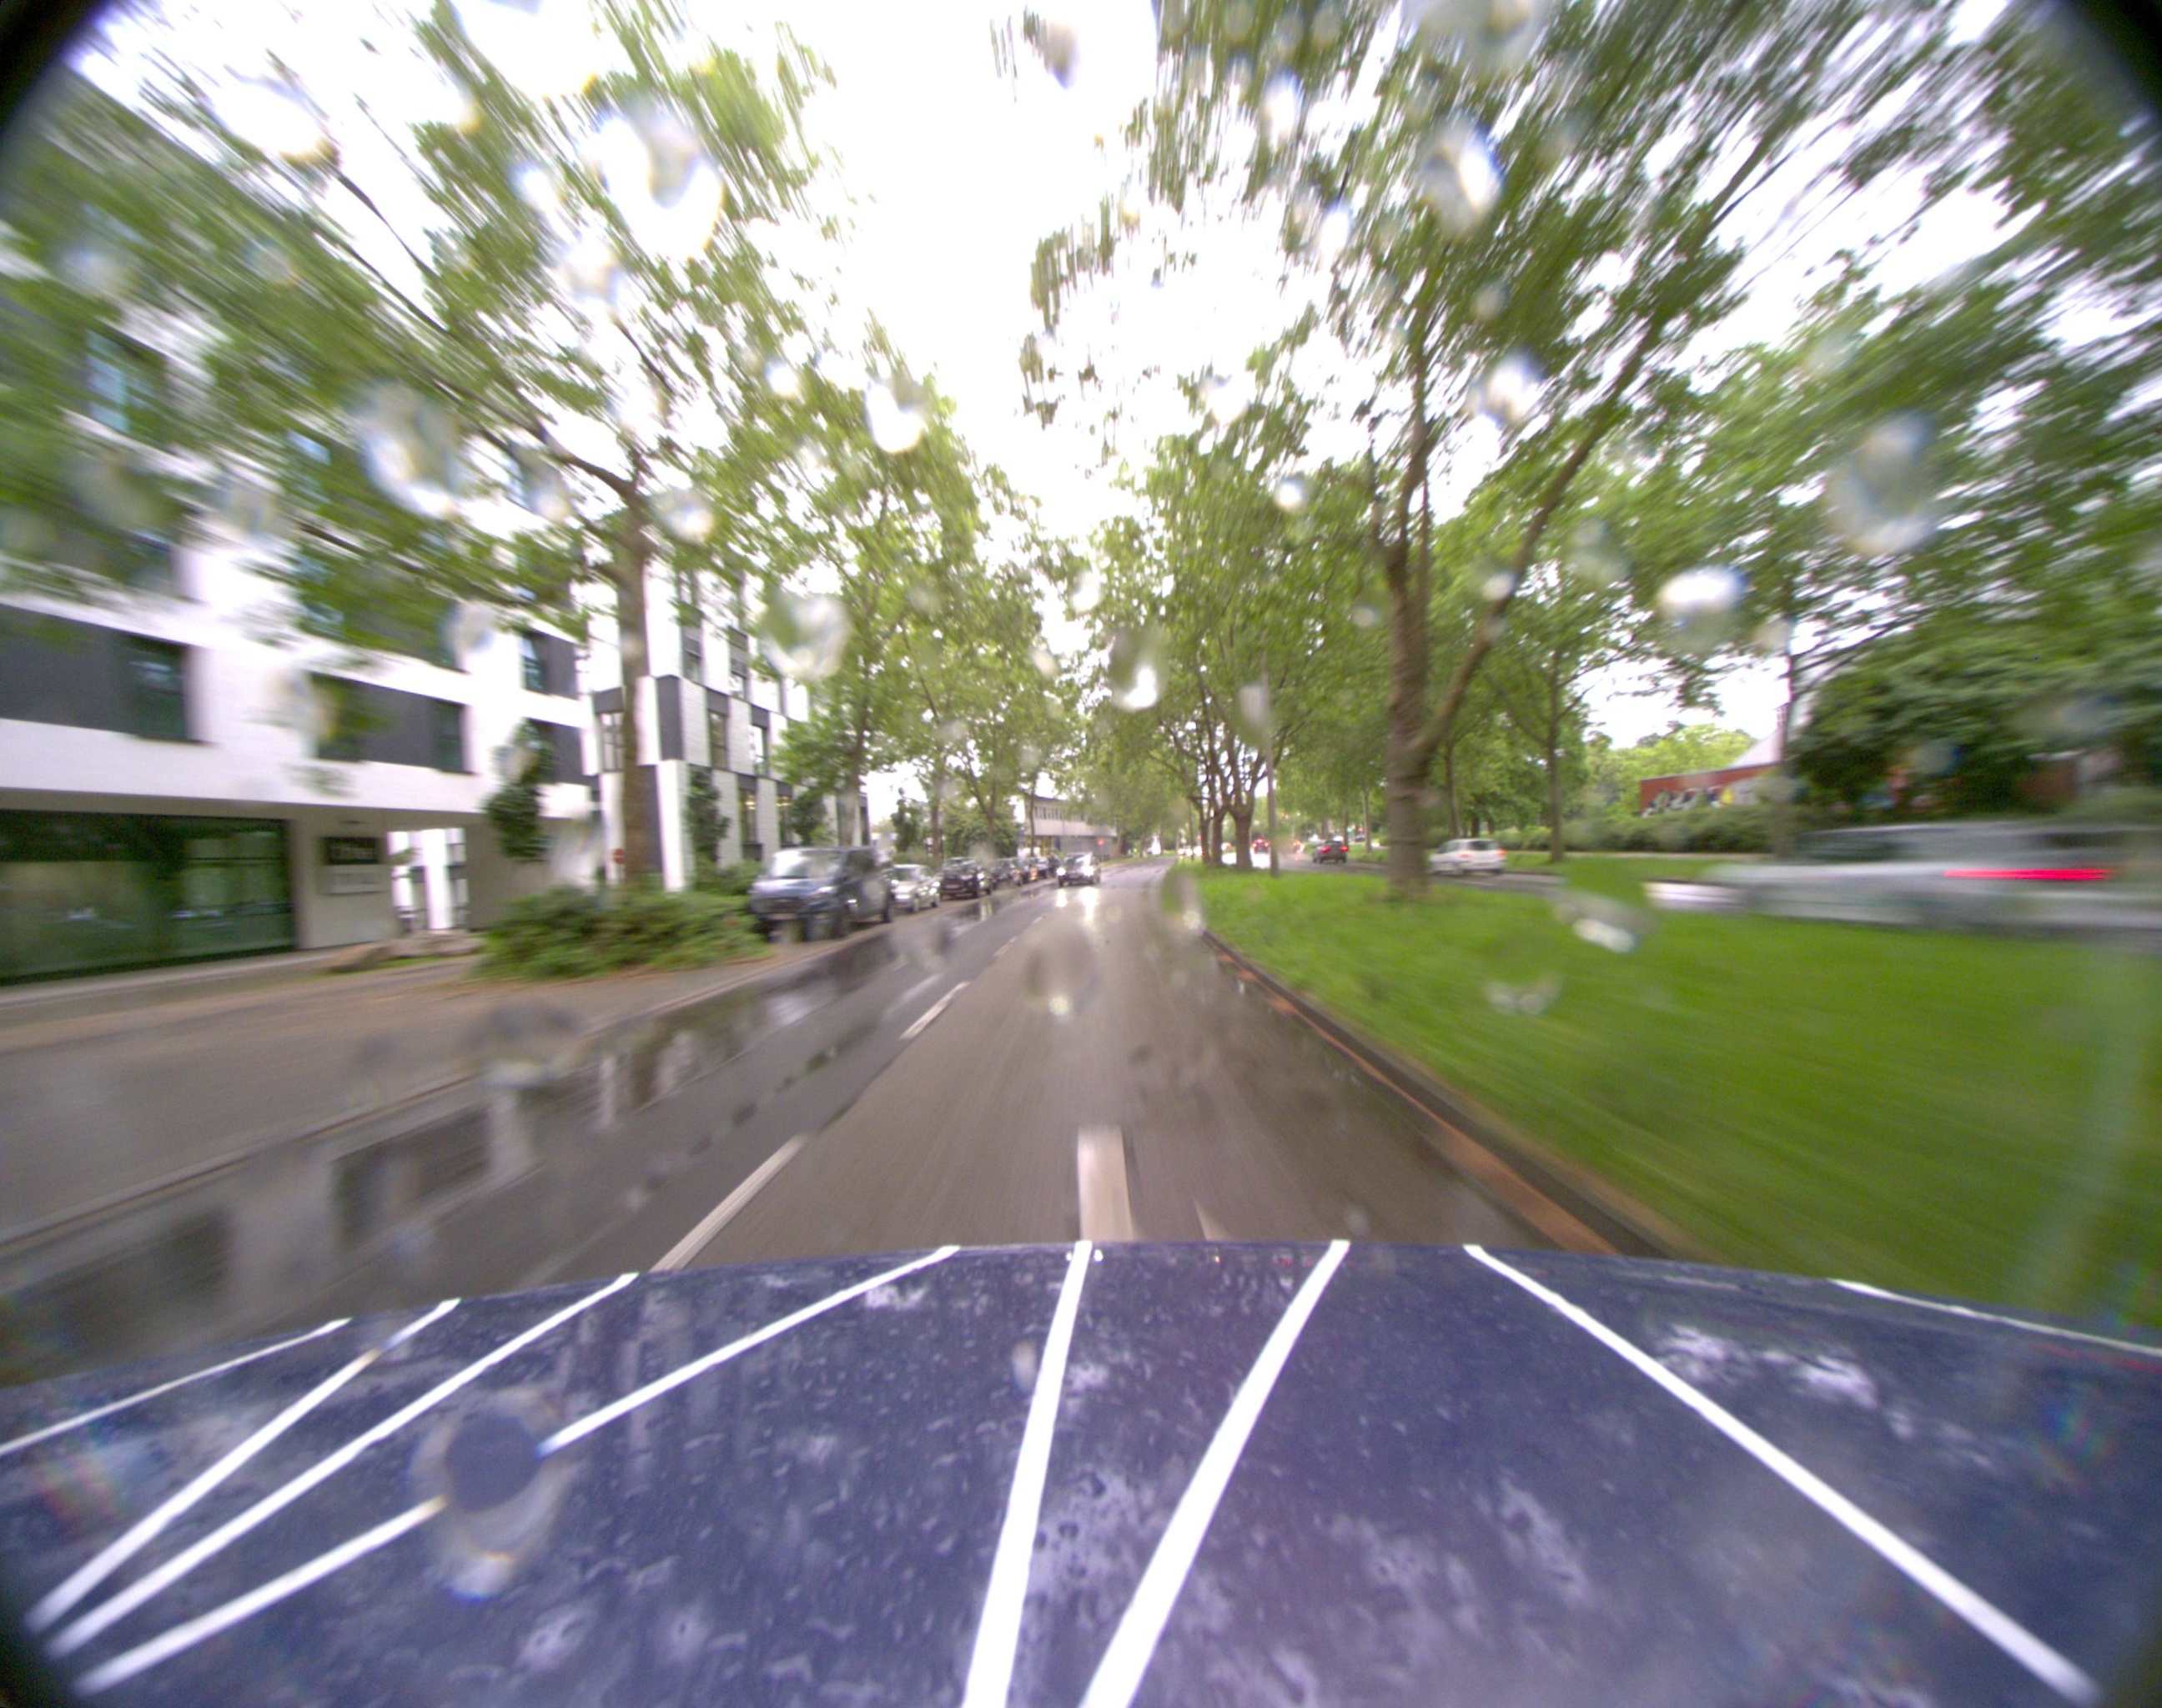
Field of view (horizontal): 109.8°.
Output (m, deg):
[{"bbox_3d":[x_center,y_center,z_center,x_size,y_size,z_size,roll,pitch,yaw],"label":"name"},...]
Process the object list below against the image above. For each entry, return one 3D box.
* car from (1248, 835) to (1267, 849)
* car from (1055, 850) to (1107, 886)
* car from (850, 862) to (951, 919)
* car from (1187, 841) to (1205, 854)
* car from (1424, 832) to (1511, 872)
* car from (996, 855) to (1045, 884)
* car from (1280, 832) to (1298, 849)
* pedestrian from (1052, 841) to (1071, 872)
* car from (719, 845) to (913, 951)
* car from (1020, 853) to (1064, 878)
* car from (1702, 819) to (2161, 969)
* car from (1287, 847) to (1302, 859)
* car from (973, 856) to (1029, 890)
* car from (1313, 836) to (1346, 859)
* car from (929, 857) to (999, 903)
[{"bbox_3d":[24.769,-1.702,106.296,2.032,1.726,4.960,-3,1,19],"label":"car"},{"bbox_3d":[0.099,0.692,40.514,1.997,1.585,5.592,-3,1,7],"label":"car"},{"bbox_3d":[-5.552,1.062,23.938,1.747,1.460,4.307,-3,0,5],"label":"car"},{"bbox_3d":[15.706,-0.945,103.549,1.996,1.620,4.526,-3,1,14],"label":"car"},{"bbox_3d":[15.458,-0.093,30.615,1.747,1.451,3.843,-3,0,5],"label":"car"},{"bbox_3d":[-3.401,0.829,43.704,1.747,1.420,5.105,-3,0,6],"label":"car"},{"bbox_3d":[28.364,-1.837,103.556,2.033,2.213,5.439,-3,1,13],"label":"car"},{"bbox_3d":[-1.344,0.177,51.346,0.901,2.002,0.831,-3,1,-29],"label":"pedestrian"},{"bbox_3d":[-5.894,0.860,17.871,2.126,2.016,5.529,-3,0,5],"label":"car"},{"bbox_3d":[-2.549,0.726,50.491,1.746,1.420,4.871,-3,0,11],"label":"car"},{"bbox_3d":[10.865,0.384,9.994,1.748,1.468,4.409,-3,0,0],"label":"car"},{"bbox_3d":[32.795,-0.205,116.782,1.996,1.622,4.336,-3,1,17],"label":"car"},{"bbox_3d":[-3.898,0.891,37.548,1.747,1.468,4.084,-3,0,8],"label":"car"},{"bbox_3d":[17.751,-0.486,54.352,1.746,1.552,4.372,-3,0,12],"label":"car"},{"bbox_3d":[-4.618,0.993,30.622,1.747,1.557,4.372,-3,0,5],"label":"car"}]
